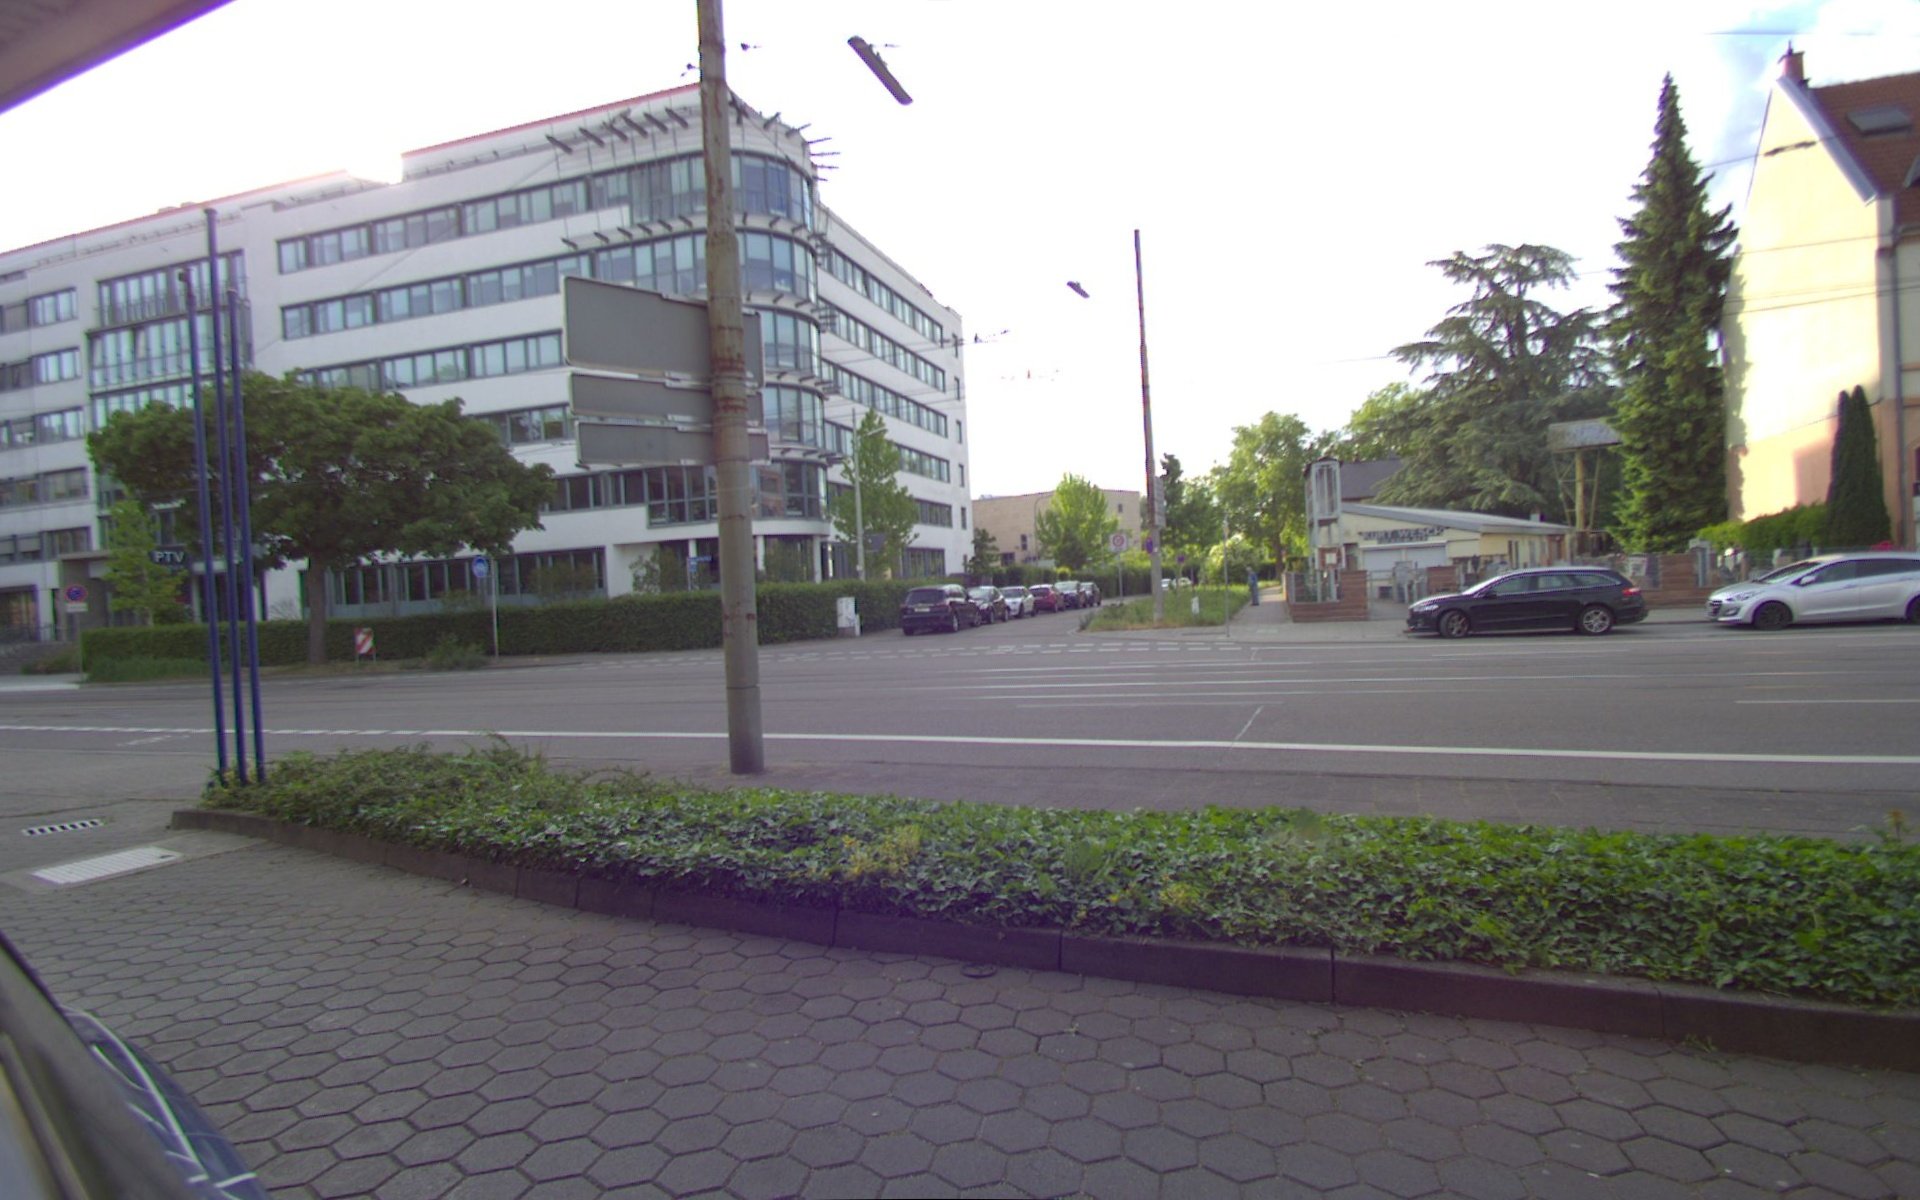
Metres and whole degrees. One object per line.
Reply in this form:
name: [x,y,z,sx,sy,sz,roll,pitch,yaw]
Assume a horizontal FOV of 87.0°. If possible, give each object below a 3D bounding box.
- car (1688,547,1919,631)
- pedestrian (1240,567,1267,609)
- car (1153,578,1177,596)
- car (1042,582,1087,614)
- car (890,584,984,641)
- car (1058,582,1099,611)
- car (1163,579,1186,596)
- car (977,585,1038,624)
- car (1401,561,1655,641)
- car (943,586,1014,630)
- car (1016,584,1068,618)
car: [18.490,-0.257,21.504,4.459,1.486,1.986,-4,0,22]
pedestrian: [13.111,-0.527,45.164,1.000,1.843,1.083,-1,0,24]
car: [20.429,-1.299,100.619,1.774,1.653,4.060,-4,0,19]
car: [5.982,-0.150,57.667,1.773,1.653,4.064,-4,0,17]
car: [-0.724,0.375,35.543,1.962,1.625,4.411,-4,2,17]
car: [7.373,-0.249,62.678,1.773,1.653,4.064,-4,0,17]
car: [22.568,-1.330,106.316,1.774,1.653,4.060,-4,0,19]
car: [2.205,0.166,45.762,1.773,1.565,4.083,-4,0,17]
car: [12.914,0.043,23.421,4.791,1.507,1.986,-3,0,22]
car: [0.797,0.281,40.900,1.773,1.565,4.083,-4,0,17]
car: [4.287,0.011,52.366,1.773,1.552,4.018,-4,0,17]
